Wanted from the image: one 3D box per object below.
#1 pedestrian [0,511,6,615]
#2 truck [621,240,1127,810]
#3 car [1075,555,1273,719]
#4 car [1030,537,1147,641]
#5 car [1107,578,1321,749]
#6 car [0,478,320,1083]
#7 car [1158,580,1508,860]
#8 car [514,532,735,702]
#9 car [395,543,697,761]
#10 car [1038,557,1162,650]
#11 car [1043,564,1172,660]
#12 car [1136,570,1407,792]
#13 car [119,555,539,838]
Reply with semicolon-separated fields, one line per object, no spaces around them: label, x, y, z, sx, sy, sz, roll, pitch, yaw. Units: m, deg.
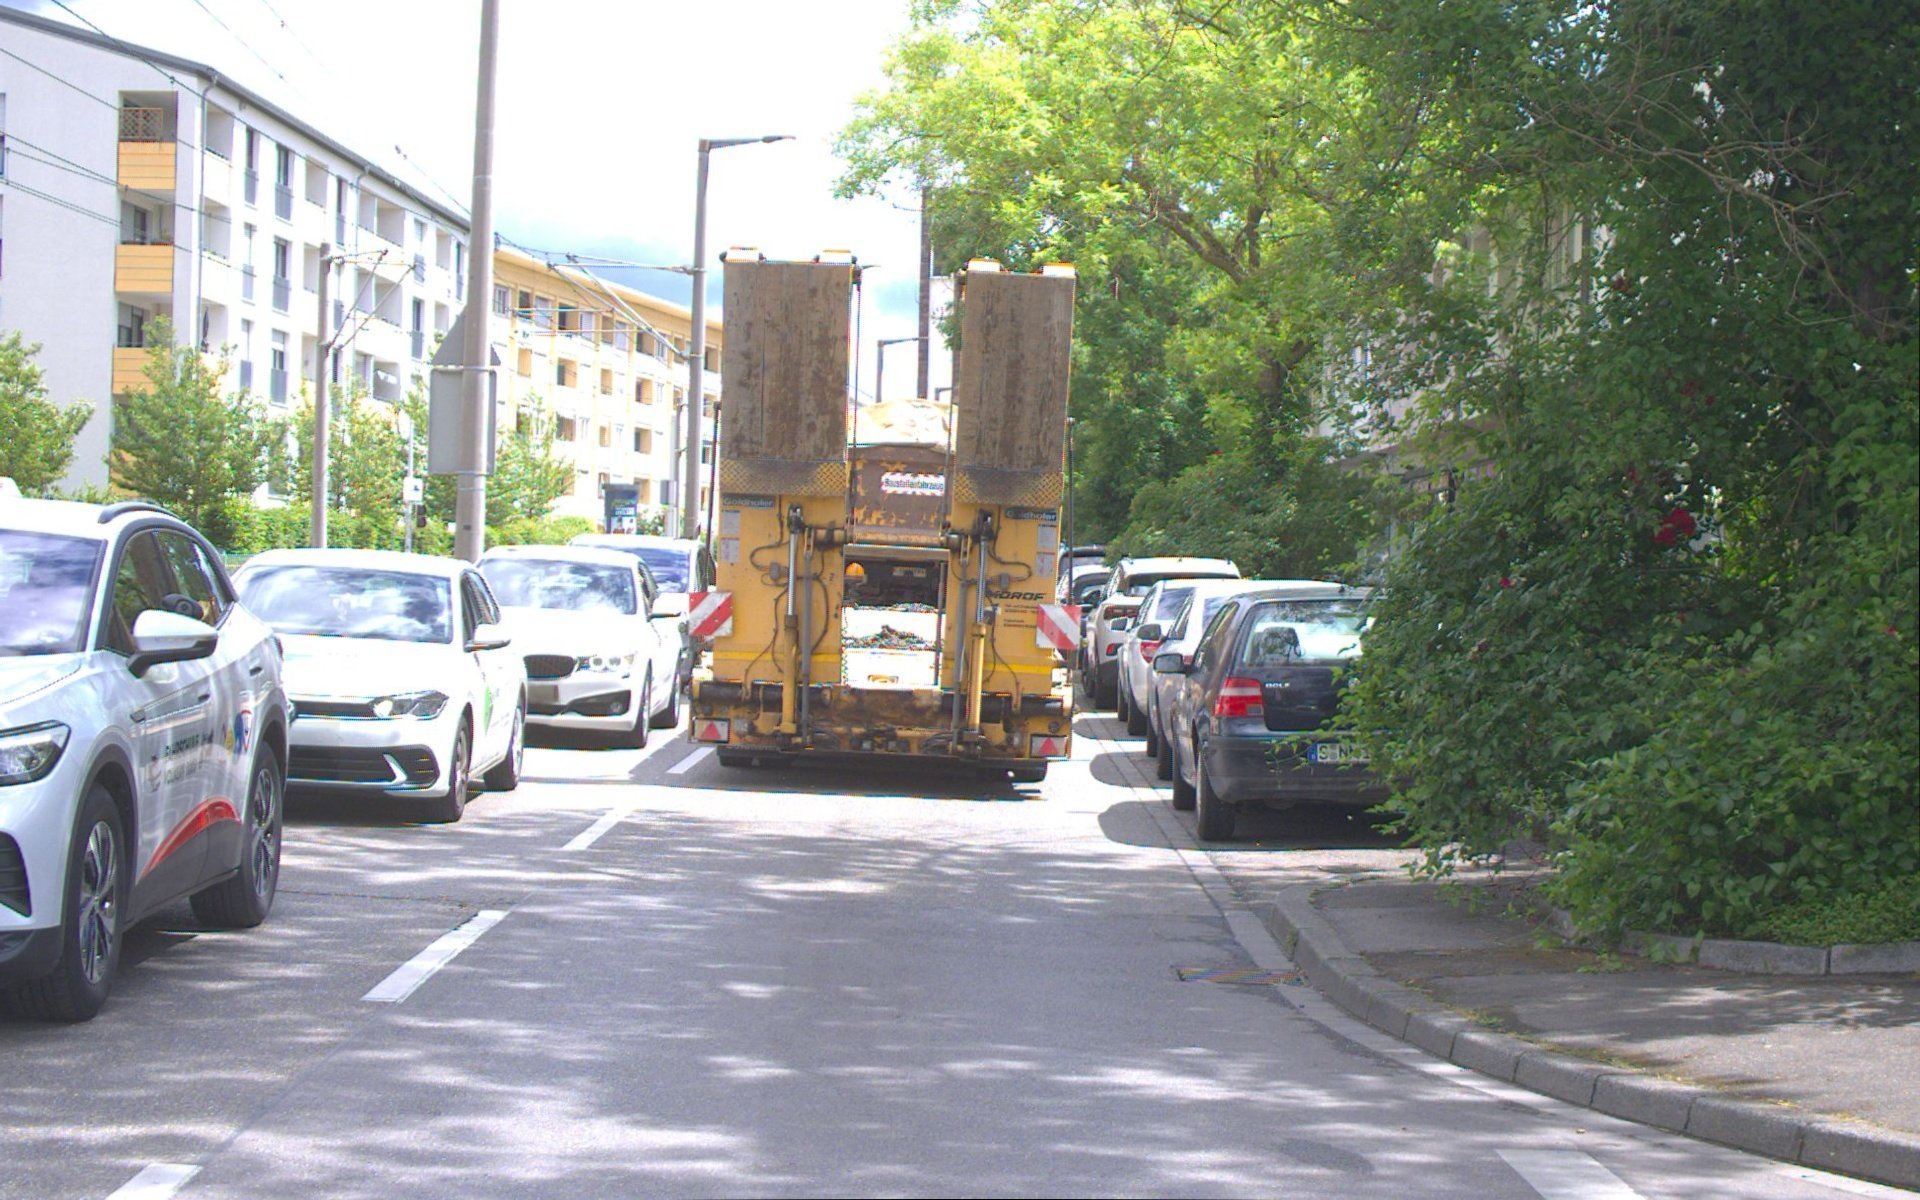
pedestrian;-14.072;-0.539;48.712;0.796;1.478;0.996;2;1;0
truck;-0.522;-0.565;28.381;3.124;3.552;12.460;2;1;0
car;2.301;0.356;38.040;1.837;1.638;4.430;2;1;0
car;2.339;-0.225;62.706;2.015;1.782;5.075;1;1;2
car;2.346;0.549;32.716;1.725;1.421;4.446;2;1;1
car;-3.503;0.444;11.784;1.857;1.685;4.434;2;1;-2
car;2.181;0.650;21.060;1.814;1.458;4.040;2;1;2
car;-3.528;0.141;36.899;1.817;1.608;4.602;3;1;0
car;-3.223;0.349;27.649;1.817;1.497;4.837;3;1;-1
car;2.252;0.037;56.096;1.771;1.437;3.900;0;1;-1
car;2.213;0.149;50.803;1.771;1.345;3.999;0;1;4
car;2.336;0.550;26.828;1.814;1.493;4.910;2;1;2
car;-3.509;0.473;19.768;1.746;1.401;3.940;2;1;-2
